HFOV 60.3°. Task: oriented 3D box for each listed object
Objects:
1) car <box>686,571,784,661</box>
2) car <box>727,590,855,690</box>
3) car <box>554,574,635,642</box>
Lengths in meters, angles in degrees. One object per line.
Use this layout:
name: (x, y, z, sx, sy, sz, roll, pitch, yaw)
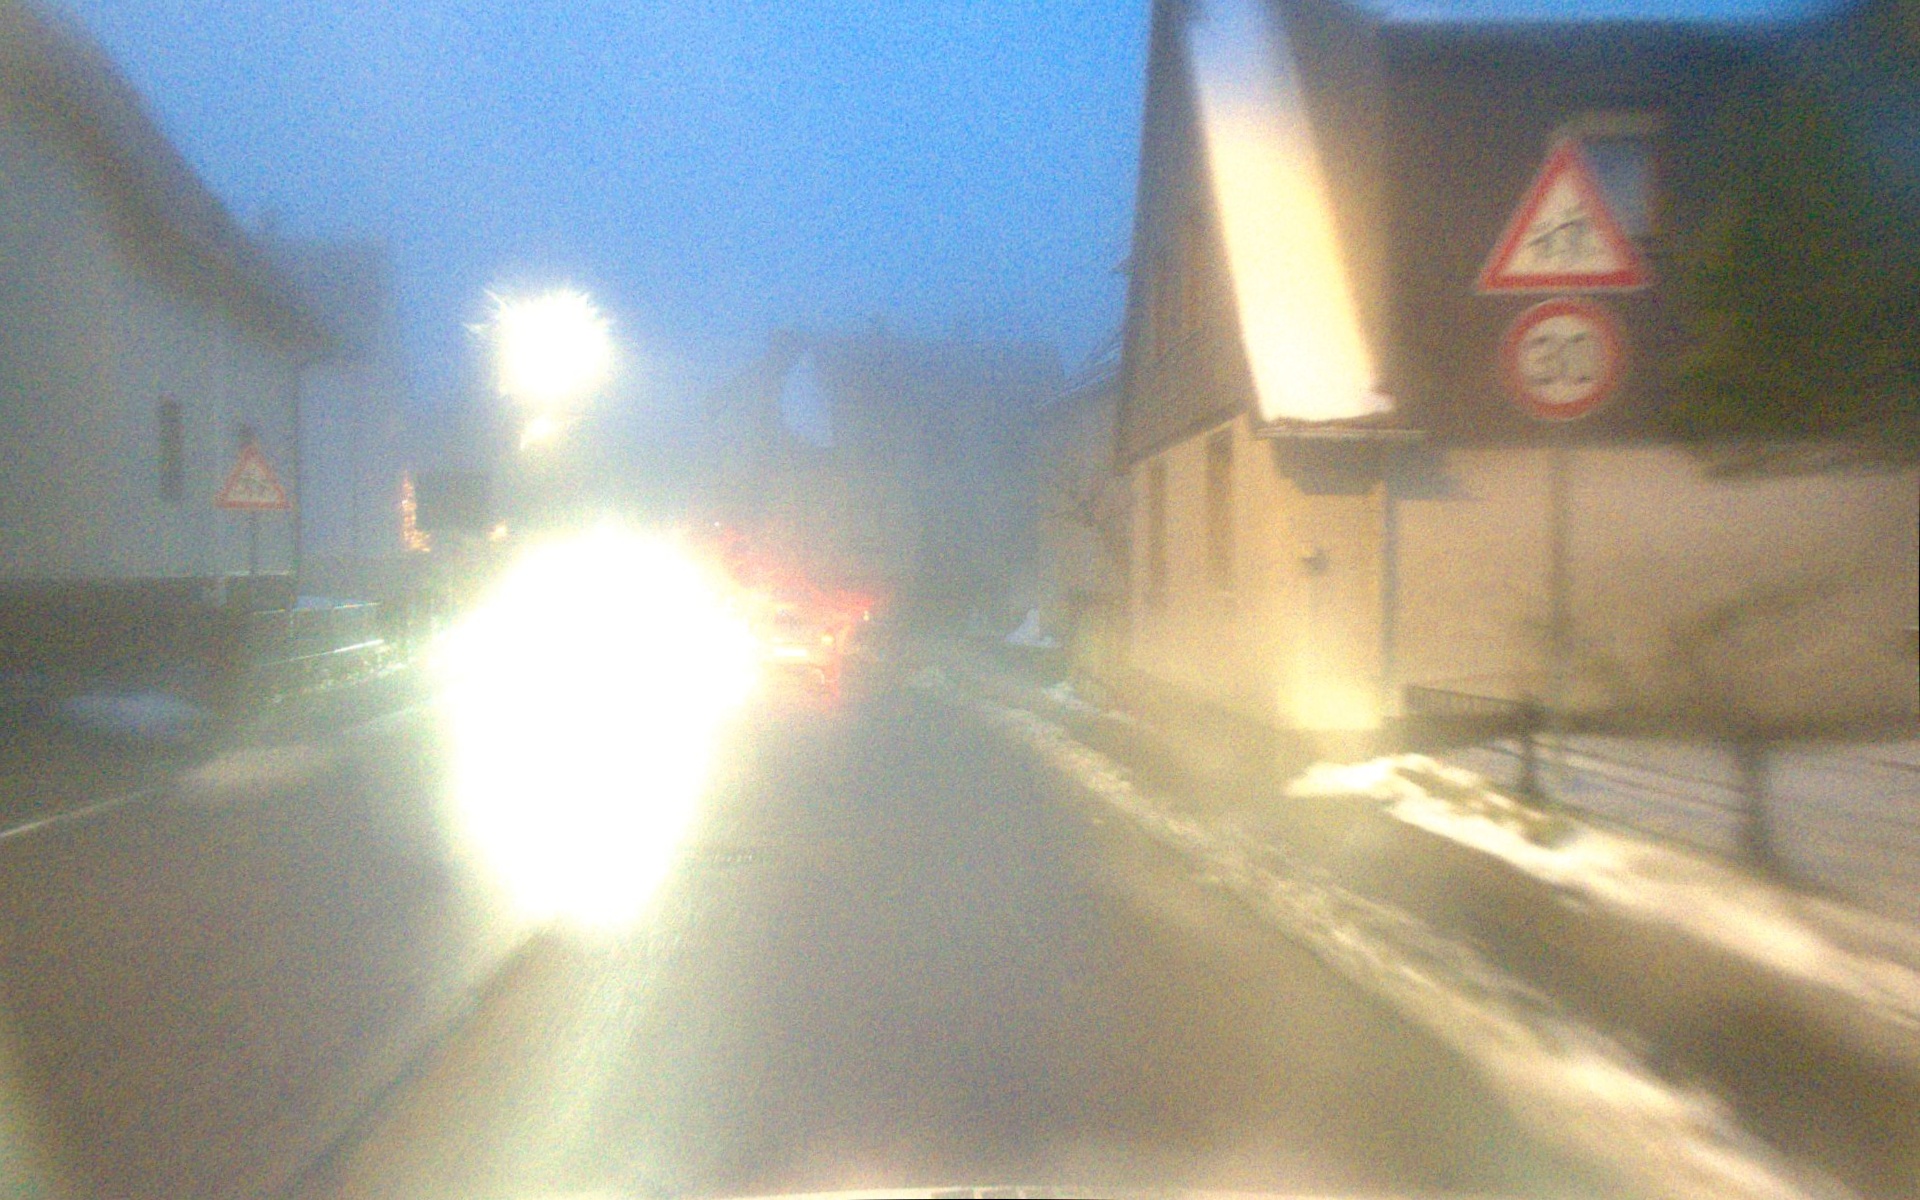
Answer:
car: (-5.546, 0.436, 41.189, 1.954, 2.049, 3.997, 2, -2, -2)
car: (-3.002, 0.694, 28.728, 1.957, 1.534, 3.991, 3, -2, -9)
car: (-9.651, 0.245, 43.971, 1.807, 1.717, 4.468, 0, -1, -9)
